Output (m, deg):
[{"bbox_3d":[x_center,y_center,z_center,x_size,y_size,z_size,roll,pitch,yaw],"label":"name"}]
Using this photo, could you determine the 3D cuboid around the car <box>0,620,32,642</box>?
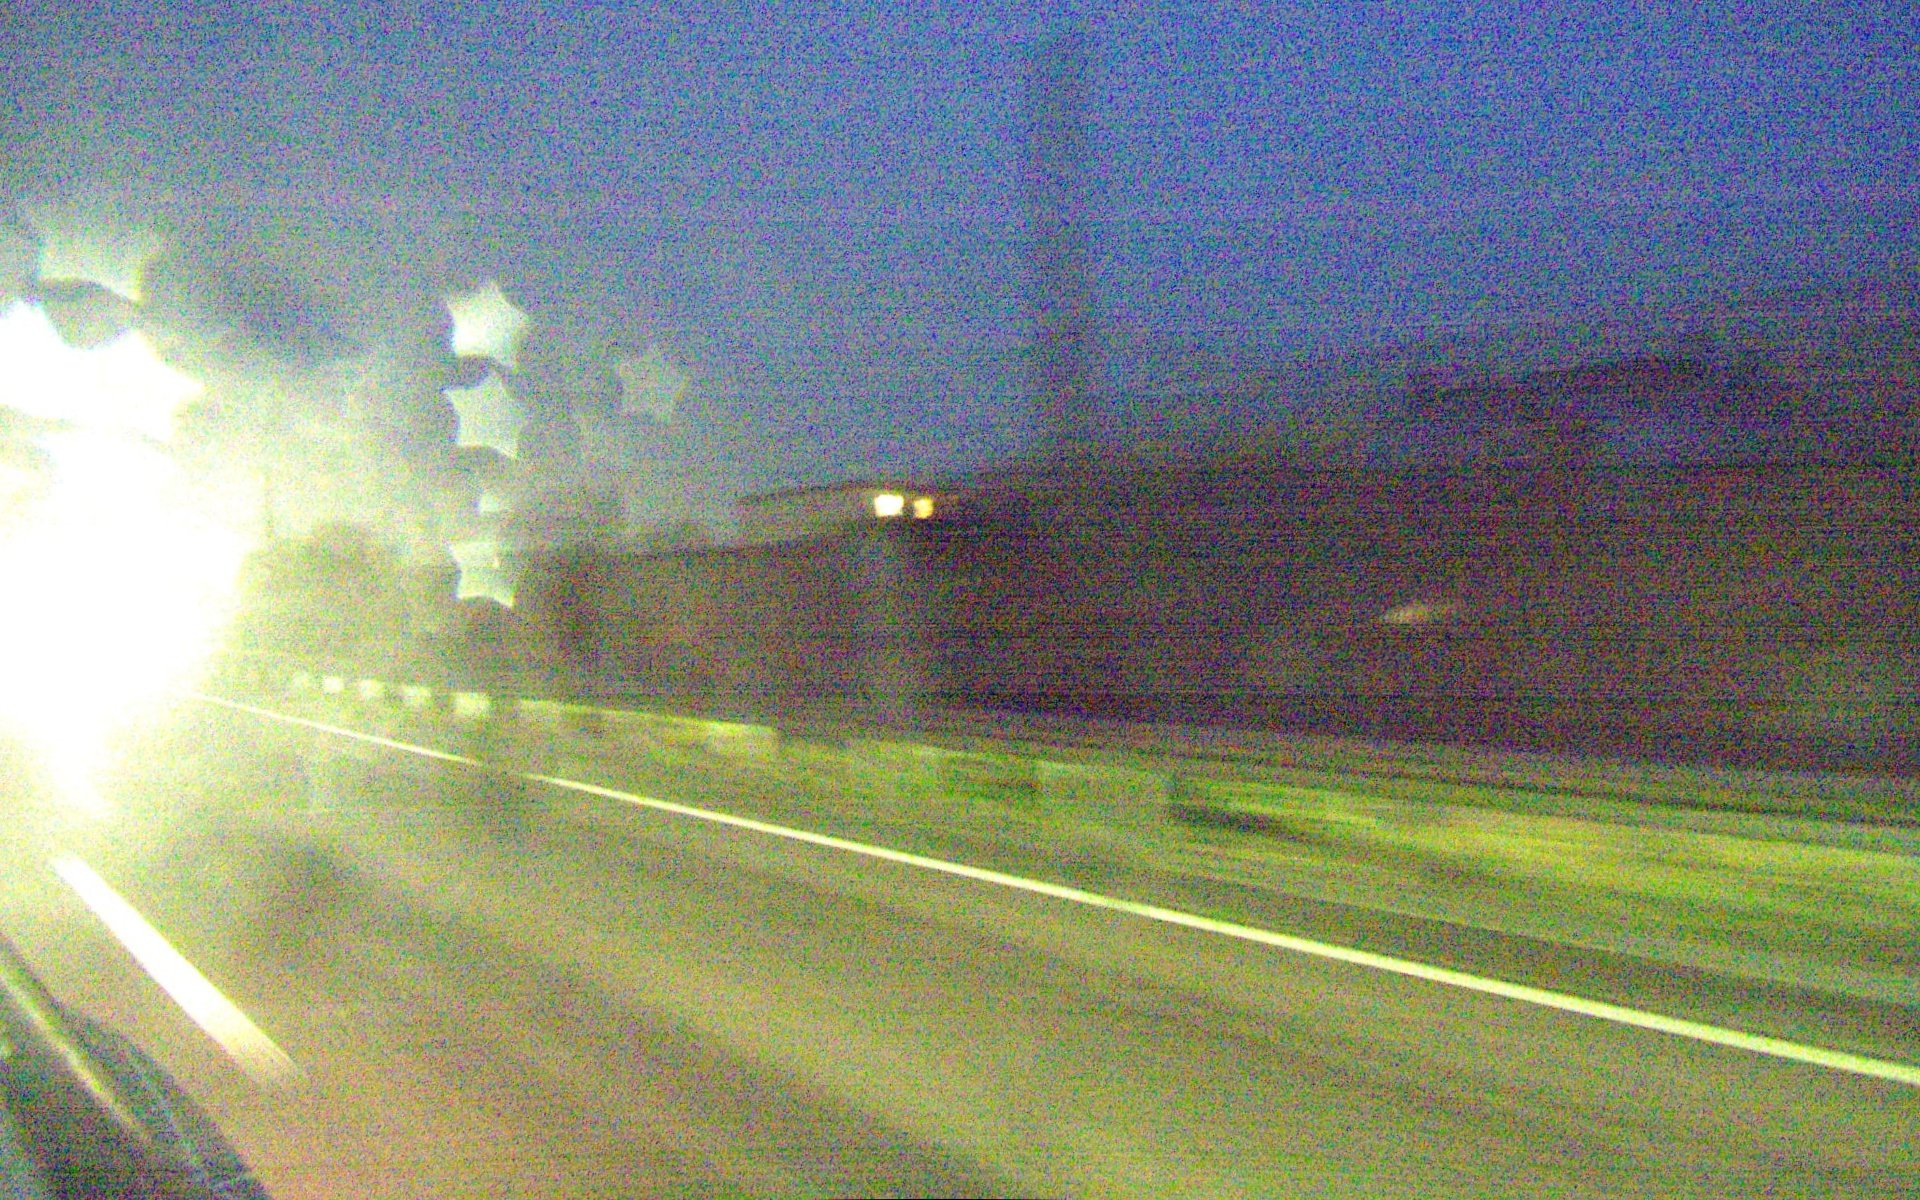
[{"bbox_3d":[-72.603,2.388,77.796,1.721,1.646,3.741,0,-2,-41],"label":"car"}]
